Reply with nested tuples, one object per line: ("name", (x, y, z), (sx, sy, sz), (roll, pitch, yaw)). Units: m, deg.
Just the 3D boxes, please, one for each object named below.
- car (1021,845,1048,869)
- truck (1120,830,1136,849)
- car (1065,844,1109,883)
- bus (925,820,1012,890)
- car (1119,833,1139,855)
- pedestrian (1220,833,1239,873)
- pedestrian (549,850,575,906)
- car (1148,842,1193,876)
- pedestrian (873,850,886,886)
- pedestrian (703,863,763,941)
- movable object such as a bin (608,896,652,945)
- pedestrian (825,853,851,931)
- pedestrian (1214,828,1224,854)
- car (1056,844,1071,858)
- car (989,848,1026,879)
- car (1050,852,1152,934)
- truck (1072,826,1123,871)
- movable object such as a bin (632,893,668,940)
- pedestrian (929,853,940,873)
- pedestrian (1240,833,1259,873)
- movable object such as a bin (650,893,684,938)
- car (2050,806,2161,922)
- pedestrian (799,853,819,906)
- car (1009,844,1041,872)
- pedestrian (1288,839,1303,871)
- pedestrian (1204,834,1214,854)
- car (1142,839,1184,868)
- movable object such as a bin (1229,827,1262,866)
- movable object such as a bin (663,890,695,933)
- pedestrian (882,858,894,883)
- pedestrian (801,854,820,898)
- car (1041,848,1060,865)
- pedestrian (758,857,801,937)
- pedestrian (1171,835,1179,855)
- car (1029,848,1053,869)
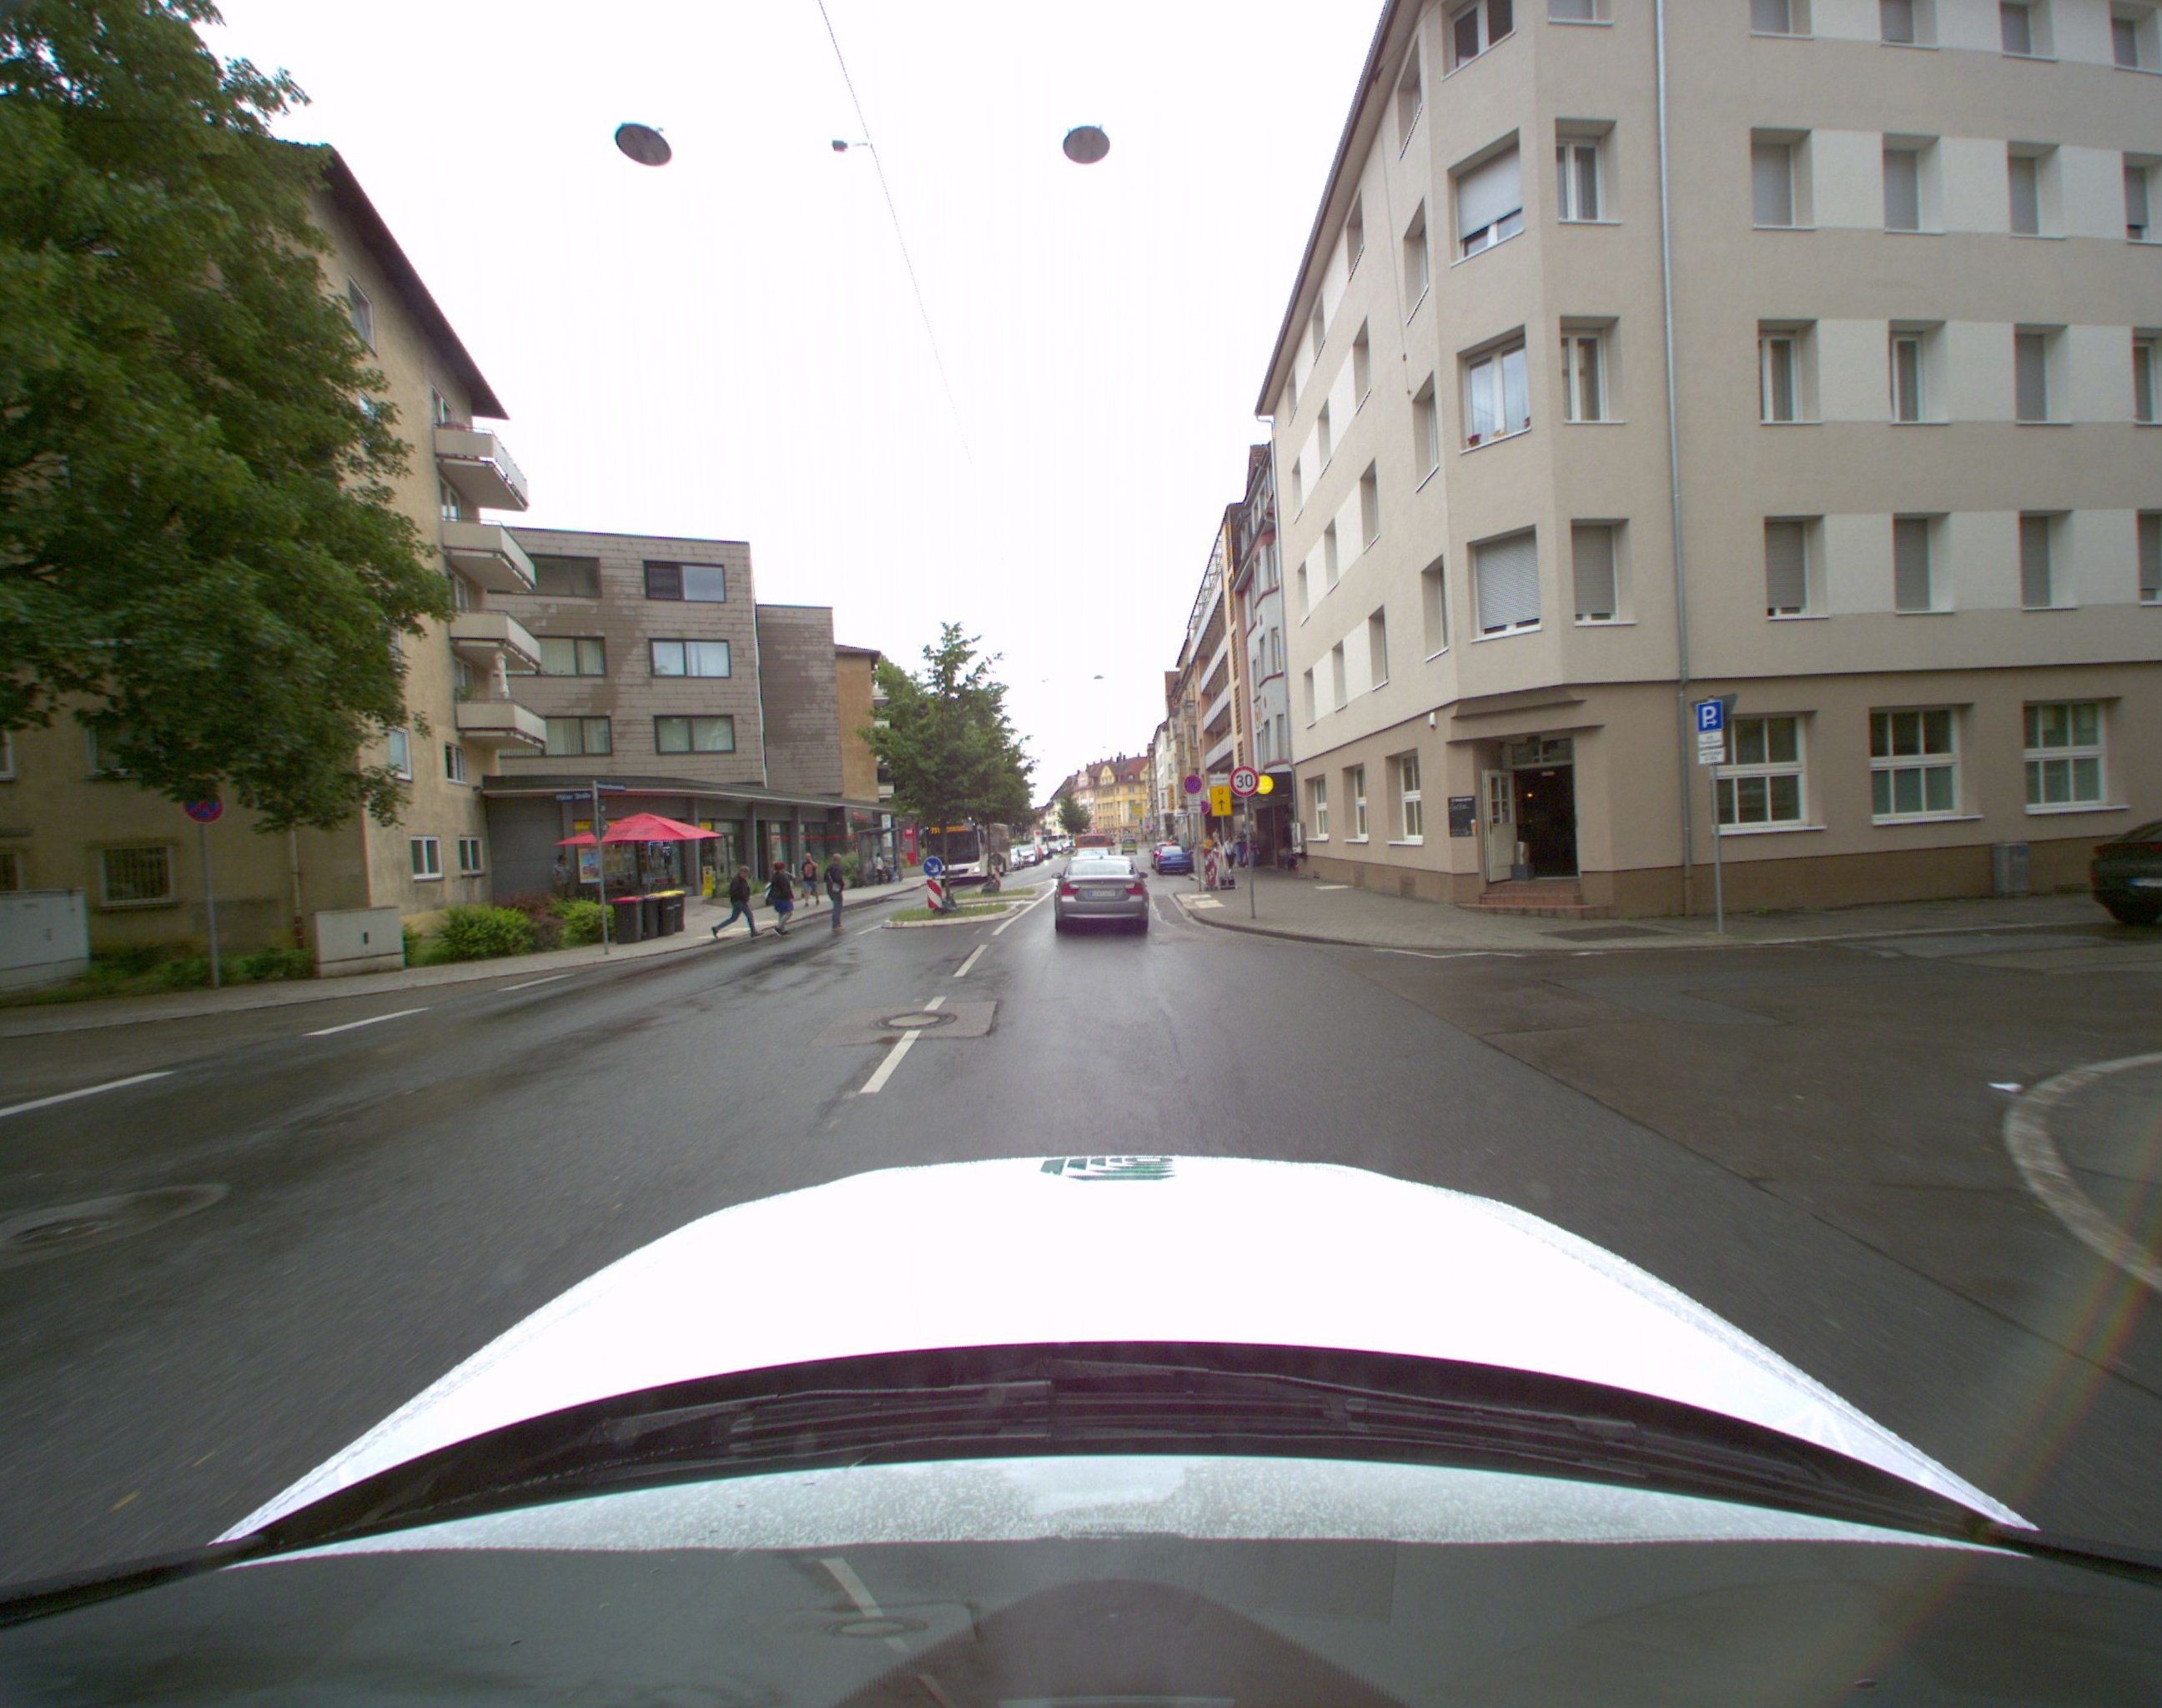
("car", (-3.968, 0.297, 70.040), (1.986, 2.014, 4.001), (0, -1, 1))
("truck", (6.929, -2.108, 120.735), (2.208, 2.544, 4.781), (0, -1, 2))
("car", (0.233, 0.390, 31.629), (1.596, 1.420, 3.287), (0, -1, 0))
("bus", (-5.685, 0.153, 43.479), (2.671, 3.201, 11.959), (0, -1, 2))
("car", (4.620, -0.910, 79.301), (1.699, 2.014, 3.999), (0, -1, 0))
("pedestrian", (6.298, -0.021, 34.568), (0.744, 1.661, 0.839), (0, -1, 9))
("pedestrian", (-17.189, 0.792, 26.966), (0.640, 1.816, 0.629), (-3, 0, -32))
("car", (4.262, 0.265, 39.300), (1.802, 1.519, 4.001), (0, -1, 2))
("pedestrian", (-9.588, 0.667, 38.808), (0.542, 1.709, 0.465), (0, -1, -4))
("pedestrian", (-8.154, 1.105, 19.117), (1.061, 1.731, 0.712), (-2, 0, -8))
("movable object such as a bin", (-10.612, 1.552, 19.160), (0.551, 1.081, 0.731), (-4, -1, 3))
("pedestrian", (-5.519, 0.854, 18.508), (0.466, 1.709, 0.541), (-3, 0, -18))
("pedestrian", (8.911, -0.851, 52.488), (0.611, 1.661, 0.756), (0, -1, 9))
("car", (-2.550, -0.416, 119.711), (1.986, 2.014, 4.001), (0, -1, 1))
("car", (-4.934, 0.665, 55.255), (1.986, 2.014, 4.001), (0, -1, 1))
("car", (0.415, 0.672, 15.792), (1.749, 1.362, 3.167), (-1, 1, 2))
("truck", (0.779, -0.244, 41.812), (2.211, 2.117, 4.645), (1, -1, -4))
("movable object such as a bin", (-10.534, 1.525, 19.908), (0.488, 1.081, 0.606), (-4, -1, 3))
("pedestrian", (-9.783, 0.603, 54.515), (0.617, 1.378, 0.545), (0, -1, 3))
("pedestrian", (7.028, -0.047, 33.983), (0.746, 1.661, 0.756), (0, -1, 8))
("movable object such as a bin", (-10.434, 1.544, 20.538), (0.488, 1.081, 0.606), (-4, -1, 3))
("car", (16.472, 0.063, 11.326), (3.985, 1.552, 2.041), (-2, -1, -9))
("pedestrian", (-9.352, 0.879, 28.015), (0.542, 1.790, 0.465), (0, -1, -7))
("car", (-4.205, 0.345, 61.496), (1.986, 2.014, 4.001), (0, -1, 1))
("pedestrian", (8.192, 0.037, 31.089), (0.410, 1.203, 0.357), (-5, 1, 5))
("pedestrian", (9.217, -0.701, 58.665), (0.560, 1.421, 0.799), (-1, -1, 15))
("car", (4.423, 0.023, 44.607), (1.986, 1.519, 4.001), (0, -1, 1))
("movable object such as a bin", (7.626, -0.318, 37.856), (1.119, 1.702, 1.433), (-4, -1, 0))
("movable object such as a bin", (-10.497, 1.497, 21.274), (0.466, 1.071, 0.544), (-5, -2, 39))
("pedestrian", (-9.642, 0.831, 40.665), (0.463, 1.230, 0.545), (0, -1, 3))
("pedestrian", (-10.847, 0.876, 32.617), (0.659, 1.706, 0.658), (0, -1, -14))
("car", (-3.634, 0.358, 98.525), (1.986, 2.014, 4.001), (0, -1, 1))
("pedestrian", (-6.772, 0.954, 18.323), (0.741, 1.709, 0.676), (-5, 0, -18))
("pedestrian", (6.898, -0.672, 59.932), (0.519, 1.421, 0.431), (0, -1, 11))
("car", (-3.891, 0.473, 80.139), (1.986, 2.014, 4.001), (0, -1, 1))
